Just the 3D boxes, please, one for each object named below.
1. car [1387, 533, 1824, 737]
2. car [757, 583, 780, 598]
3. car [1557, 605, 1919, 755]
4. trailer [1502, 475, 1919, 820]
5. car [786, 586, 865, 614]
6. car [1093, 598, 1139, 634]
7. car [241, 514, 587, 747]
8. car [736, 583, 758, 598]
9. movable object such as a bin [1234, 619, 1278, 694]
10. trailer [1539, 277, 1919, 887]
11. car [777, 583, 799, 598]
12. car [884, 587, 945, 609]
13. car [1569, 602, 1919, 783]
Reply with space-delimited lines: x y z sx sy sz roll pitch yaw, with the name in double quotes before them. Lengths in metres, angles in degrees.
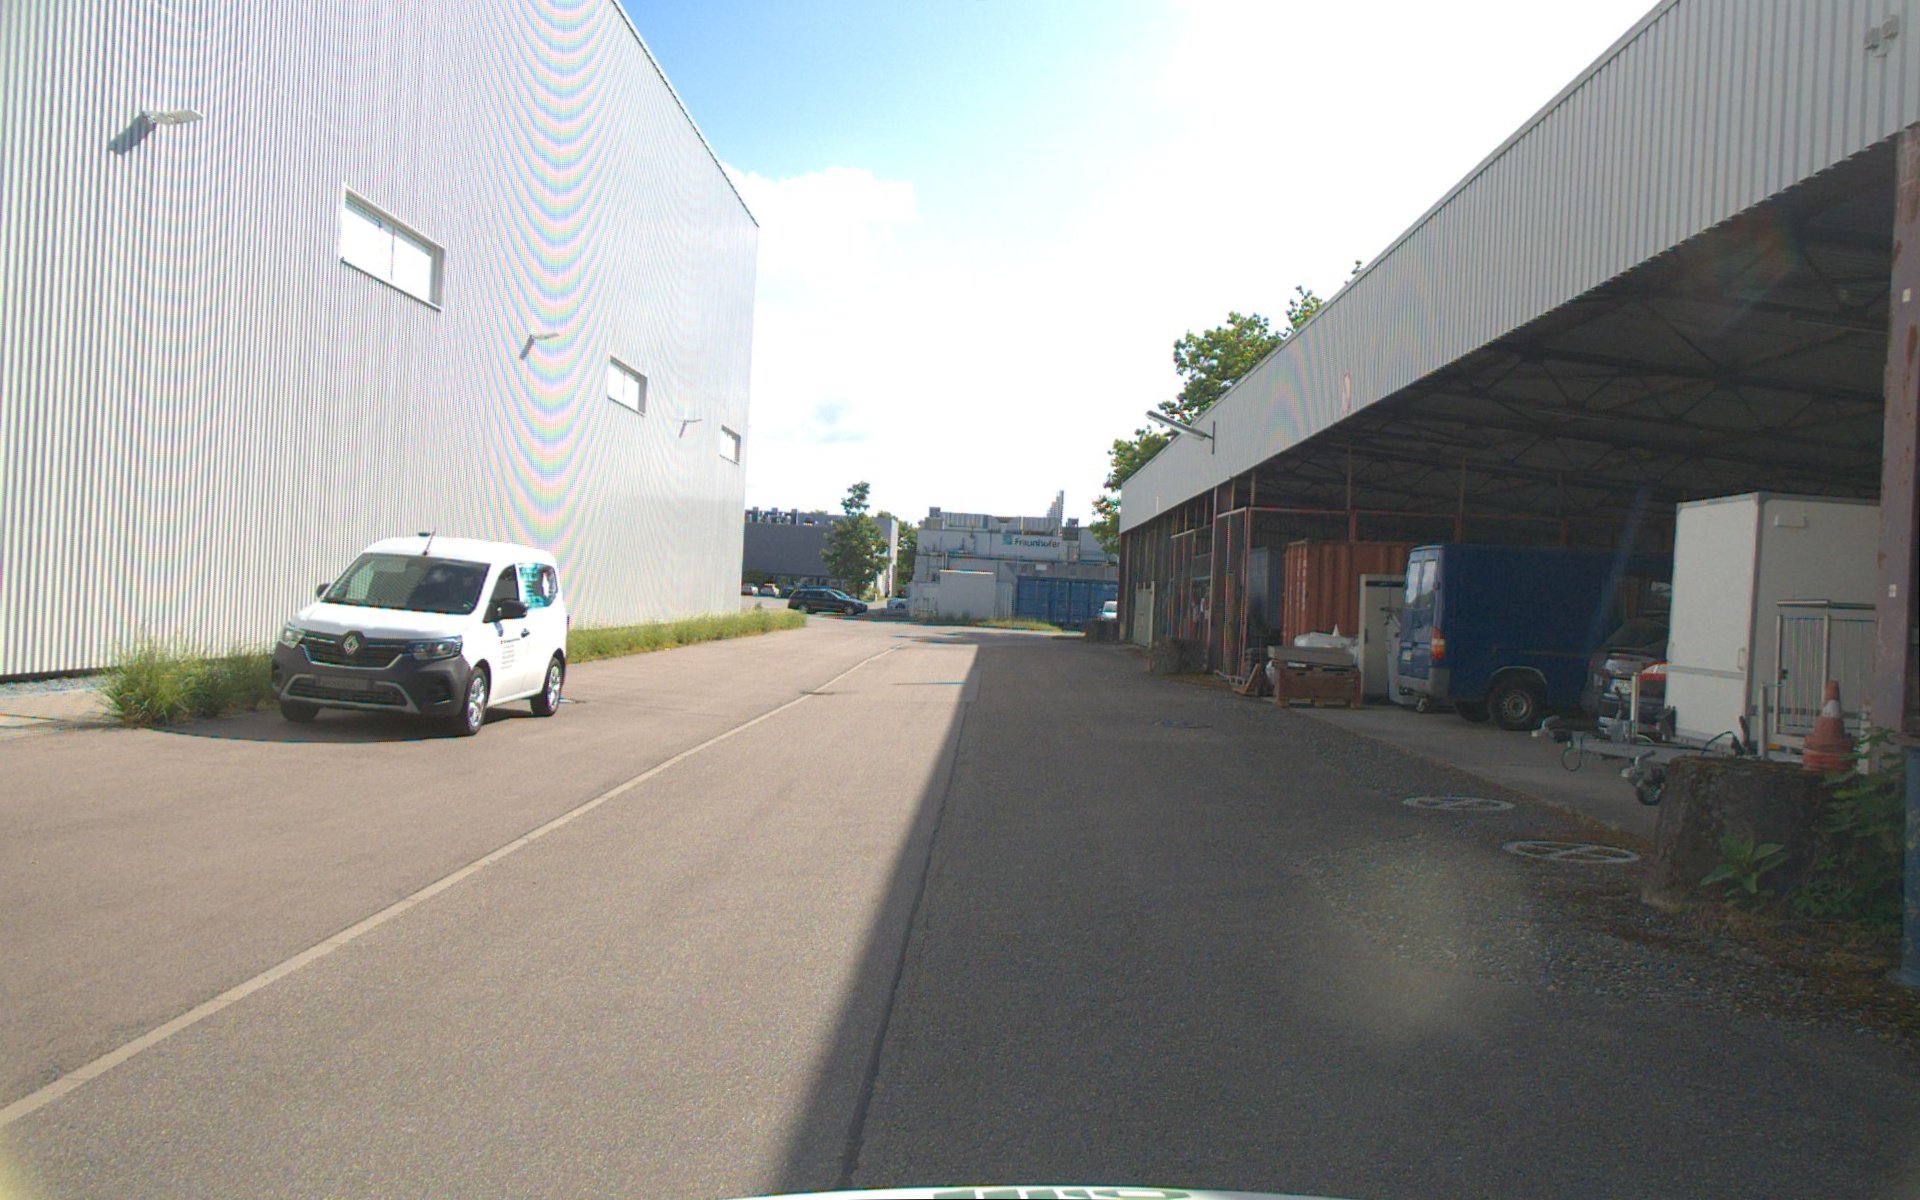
"car" 8.307 0.432 21.637 4.876 2.366 2.000 2 0 1
"car" -22.669 -1.099 196.111 2.148 1.766 4.000 1 0 0
"car" 9.031 0.878 18.663 3.908 1.498 1.787 2 0 -4
"trailer" 6.892 0.372 12.916 4.711 2.433 1.828 2 0 6
"car" -8.008 -0.010 98.789 4.432 1.534 1.909 2 0 3
"car" 8.063 0.802 85.841 1.953 1.613 4.173 2 2 0
"car" -5.236 0.257 16.560 1.852 1.877 4.359 5 0 0
"car" -25.208 -1.109 195.796 1.952 1.766 4.000 1 0 0
"movable object such as a bin" 4.890 0.916 27.356 0.569 1.185 1.239 2 0 5
"trailer" 9.068 0.037 10.348 9.831 3.272 2.854 2 0 1
"car" -20.194 -1.098 194.371 2.148 1.766 4.000 1 0 0
"car" -3.466 -0.147 126.339 4.432 1.534 1.909 2 0 2
"car" 8.182 0.849 15.543 4.241 1.522 1.777 2 0 -2
